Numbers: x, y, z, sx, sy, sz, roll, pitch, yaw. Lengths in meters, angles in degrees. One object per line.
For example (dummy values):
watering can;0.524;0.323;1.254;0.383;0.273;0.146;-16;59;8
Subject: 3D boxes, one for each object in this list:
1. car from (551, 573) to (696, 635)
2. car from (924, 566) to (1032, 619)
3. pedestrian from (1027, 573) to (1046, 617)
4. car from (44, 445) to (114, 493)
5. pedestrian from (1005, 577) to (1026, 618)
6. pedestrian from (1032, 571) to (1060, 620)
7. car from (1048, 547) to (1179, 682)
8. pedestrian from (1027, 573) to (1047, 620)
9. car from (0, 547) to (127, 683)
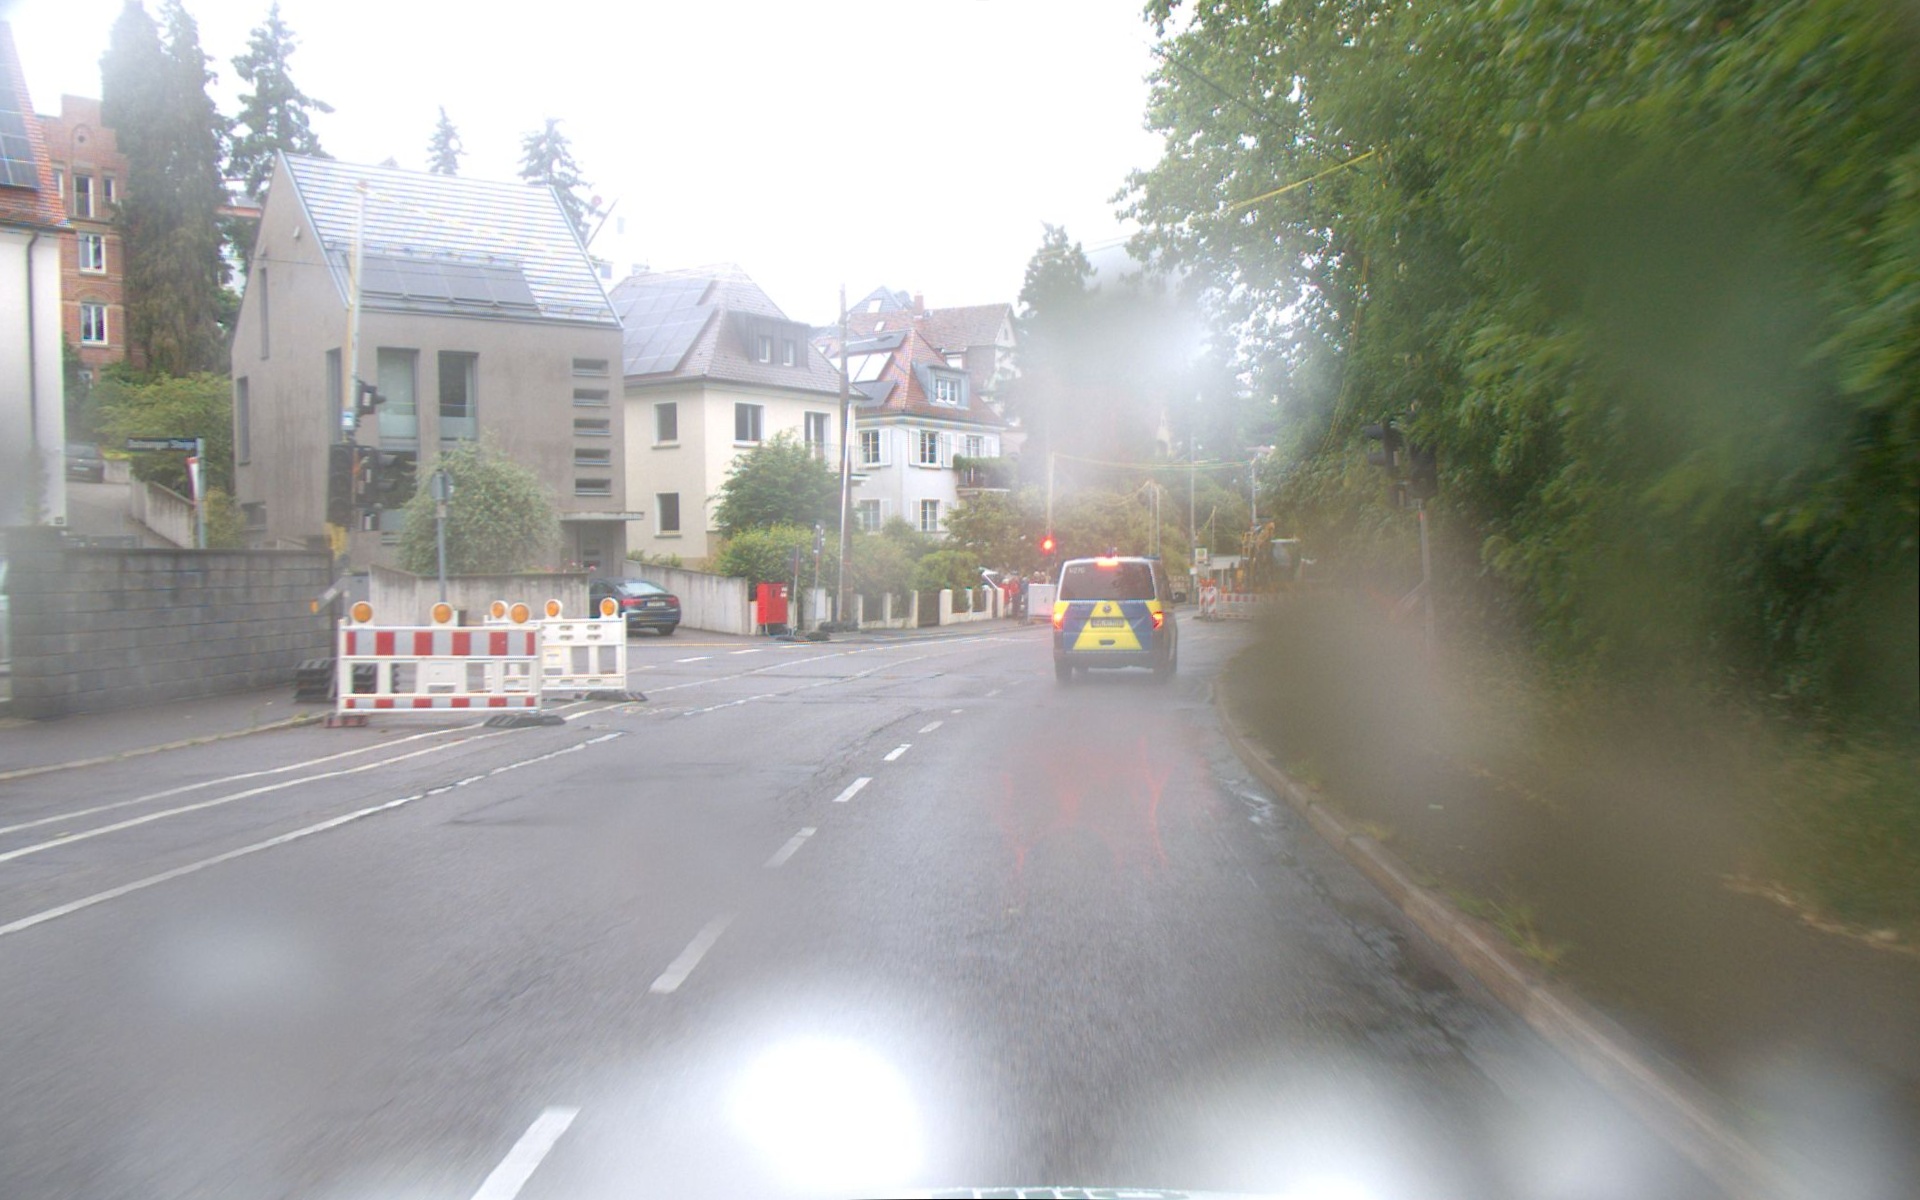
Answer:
car;-8.484;0.065;41.546;1.824;1.469;3.938;-1;1;-43
car;0.705;-0.300;65.612;3.908;2.049;1.829;0;0;26
pedestrian;2.871;-0.192;61.914;0.551;1.610;0.468;1;-1;16
car;-33.212;-4.908;62.323;1.763;1.489;3.568;-1;0;-38
pedestrian;2.096;-0.089;62.635;0.613;1.548;0.593;1;-1;16
pedestrian;3.280;-0.181;62.850;0.871;1.818;0.829;2;-1;13
car;2.666;0.197;27.857;1.951;2.049;4.405;-1;1;8
pedestrian;2.975;-0.134;63.785;0.613;1.745;0.593;1;-1;16
car;-11.396;0.172;19.106;1.740;1.489;3.616;-1;0;-1
